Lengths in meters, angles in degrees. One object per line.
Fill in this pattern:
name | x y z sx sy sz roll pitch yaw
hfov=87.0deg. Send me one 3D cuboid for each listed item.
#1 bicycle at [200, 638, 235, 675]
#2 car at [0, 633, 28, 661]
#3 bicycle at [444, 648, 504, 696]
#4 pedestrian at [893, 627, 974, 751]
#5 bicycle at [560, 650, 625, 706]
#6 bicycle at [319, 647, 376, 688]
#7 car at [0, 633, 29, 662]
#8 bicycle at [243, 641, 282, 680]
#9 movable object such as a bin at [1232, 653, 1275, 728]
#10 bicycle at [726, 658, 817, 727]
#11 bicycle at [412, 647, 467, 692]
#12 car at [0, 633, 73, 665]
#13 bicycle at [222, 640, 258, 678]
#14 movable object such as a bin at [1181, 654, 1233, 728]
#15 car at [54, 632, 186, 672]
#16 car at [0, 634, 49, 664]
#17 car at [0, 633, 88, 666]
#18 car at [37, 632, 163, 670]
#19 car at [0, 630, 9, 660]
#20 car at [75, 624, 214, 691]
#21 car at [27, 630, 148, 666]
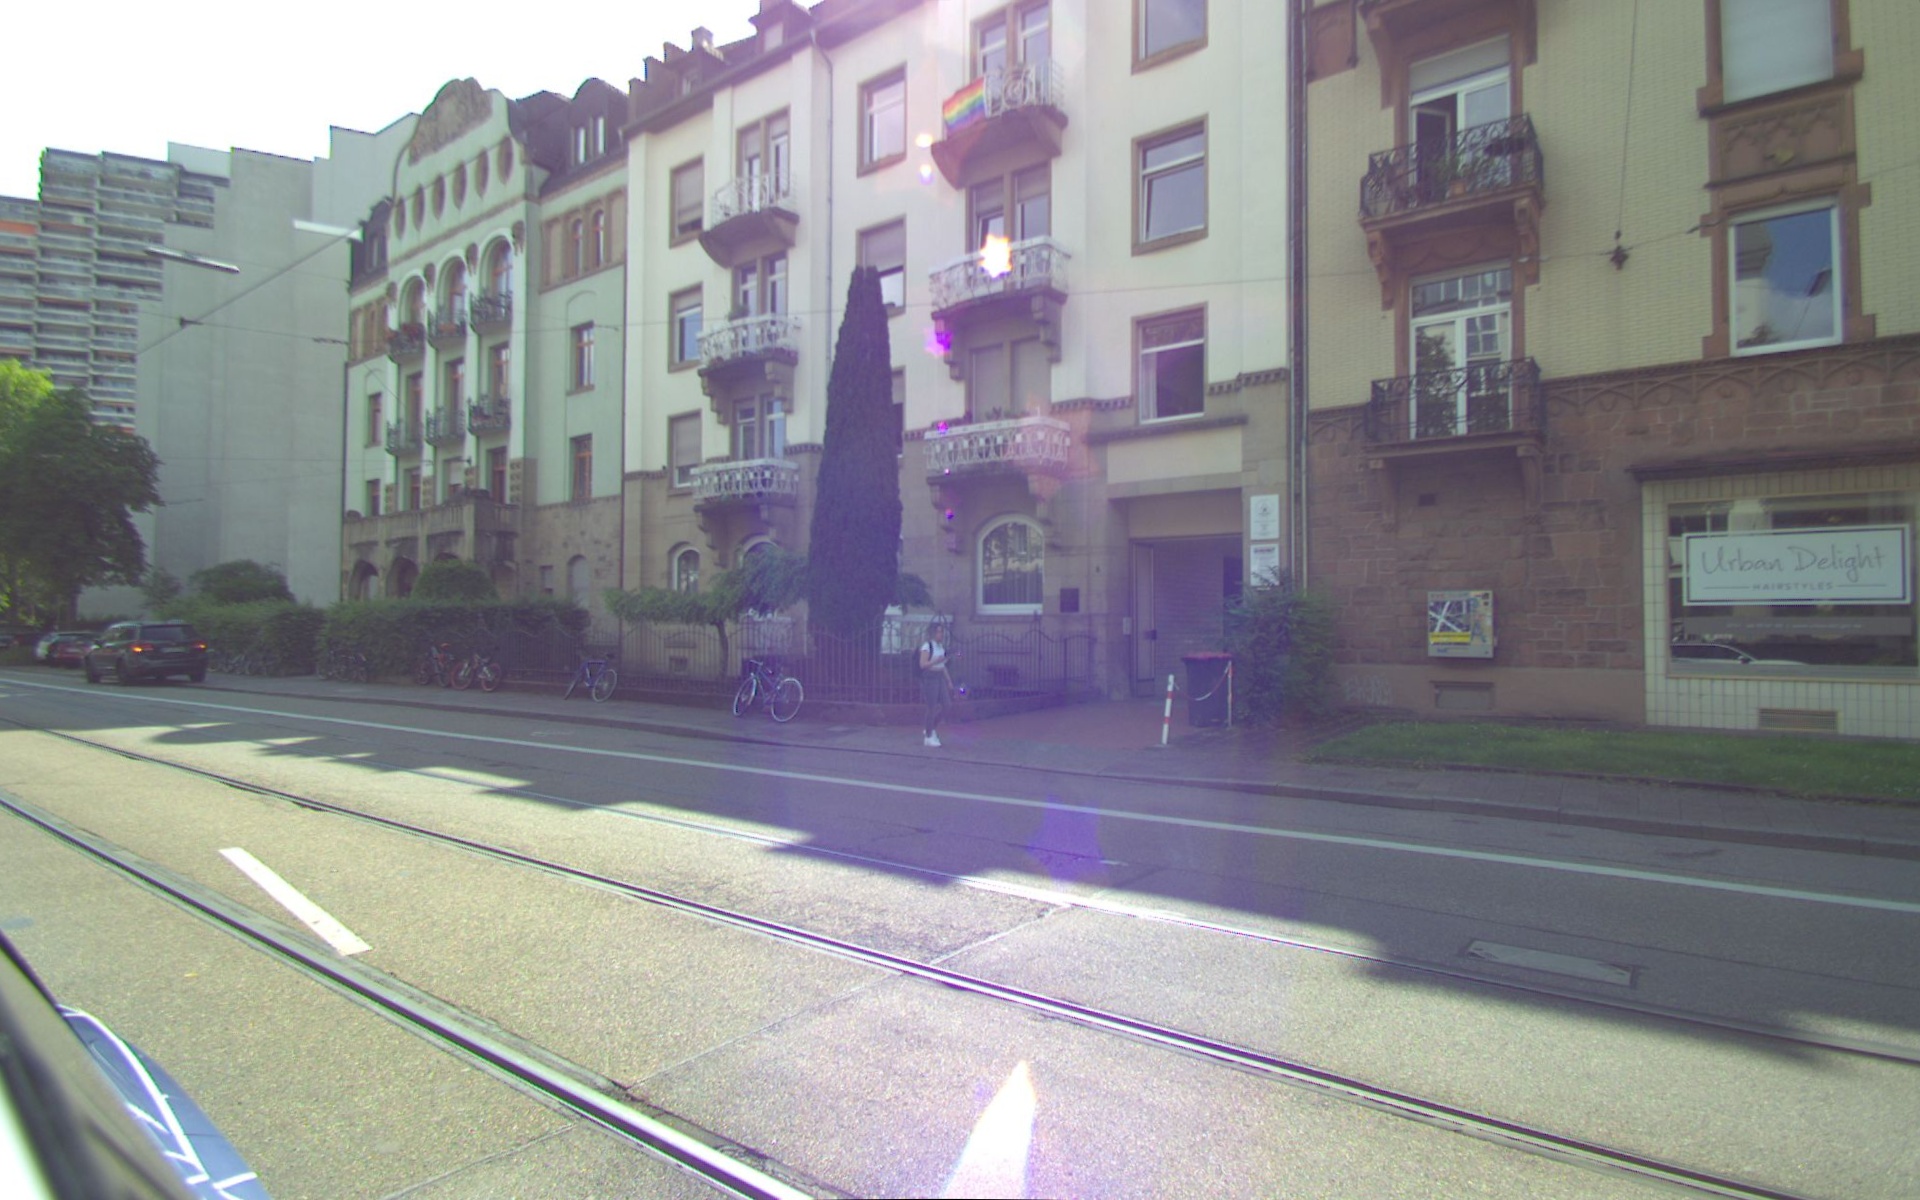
bicycle | -24.163 1.823 32.927 1.785 1.144 0.462 -2 -3 40
car | -54.009 2.595 55.695 3.938 1.519 2.002 2 -3 -42
bicycle | -10.725 1.564 22.306 1.785 1.003 0.462 -2 -3 40
pedestrian | -0.342 1.141 13.285 0.764 1.553 0.749 -2 -3 39
bicycle | -7.137 1.489 19.611 0.461 1.003 1.788 2 -3 -45
bicycle | -15.616 1.702 25.779 1.979 1.003 0.597 -2 -3 40
car | -51.818 2.520 53.393 3.938 1.519 2.002 2 -3 -42
bicycle | -20.982 1.808 30.437 1.785 1.144 0.462 -2 -3 40
movable object such as a bin | 4.216 1.295 14.560 0.531 1.037 0.475 0 -2 11
bicycle | -3.063 1.455 16.311 0.461 1.003 1.980 2 -3 -43
bicycle | -12.141 1.599 23.569 1.785 1.003 0.462 -2 -3 40
car | -46.443 2.400 49.965 3.938 1.519 2.002 2 -3 -42
bicycle | -22.508 1.826 31.638 1.785 1.144 0.462 -2 -3 40
movable object such as a bin | 3.563 1.300 14.644 0.697 1.037 0.475 0 -2 11
car | -33.381 2.047 40.261 3.938 1.519 2.002 2 -3 -42
car | -49.125 2.490 51.613 3.938 1.519 2.002 2 -3 -42
car | -43.986 2.323 47.988 3.938 1.519 2.002 2 -3 -42
car | -36.065 2.130 42.514 3.938 1.519 2.002 2 -3 -42
car | -56.910 2.574 57.641 3.938 1.695 2.002 2 -3 -42
car | -22.717 1.548 28.159 4.392 1.708 1.899 -1 -2 36
car | -38.673 2.126 44.926 3.938 1.519 2.002 2 -3 -42
